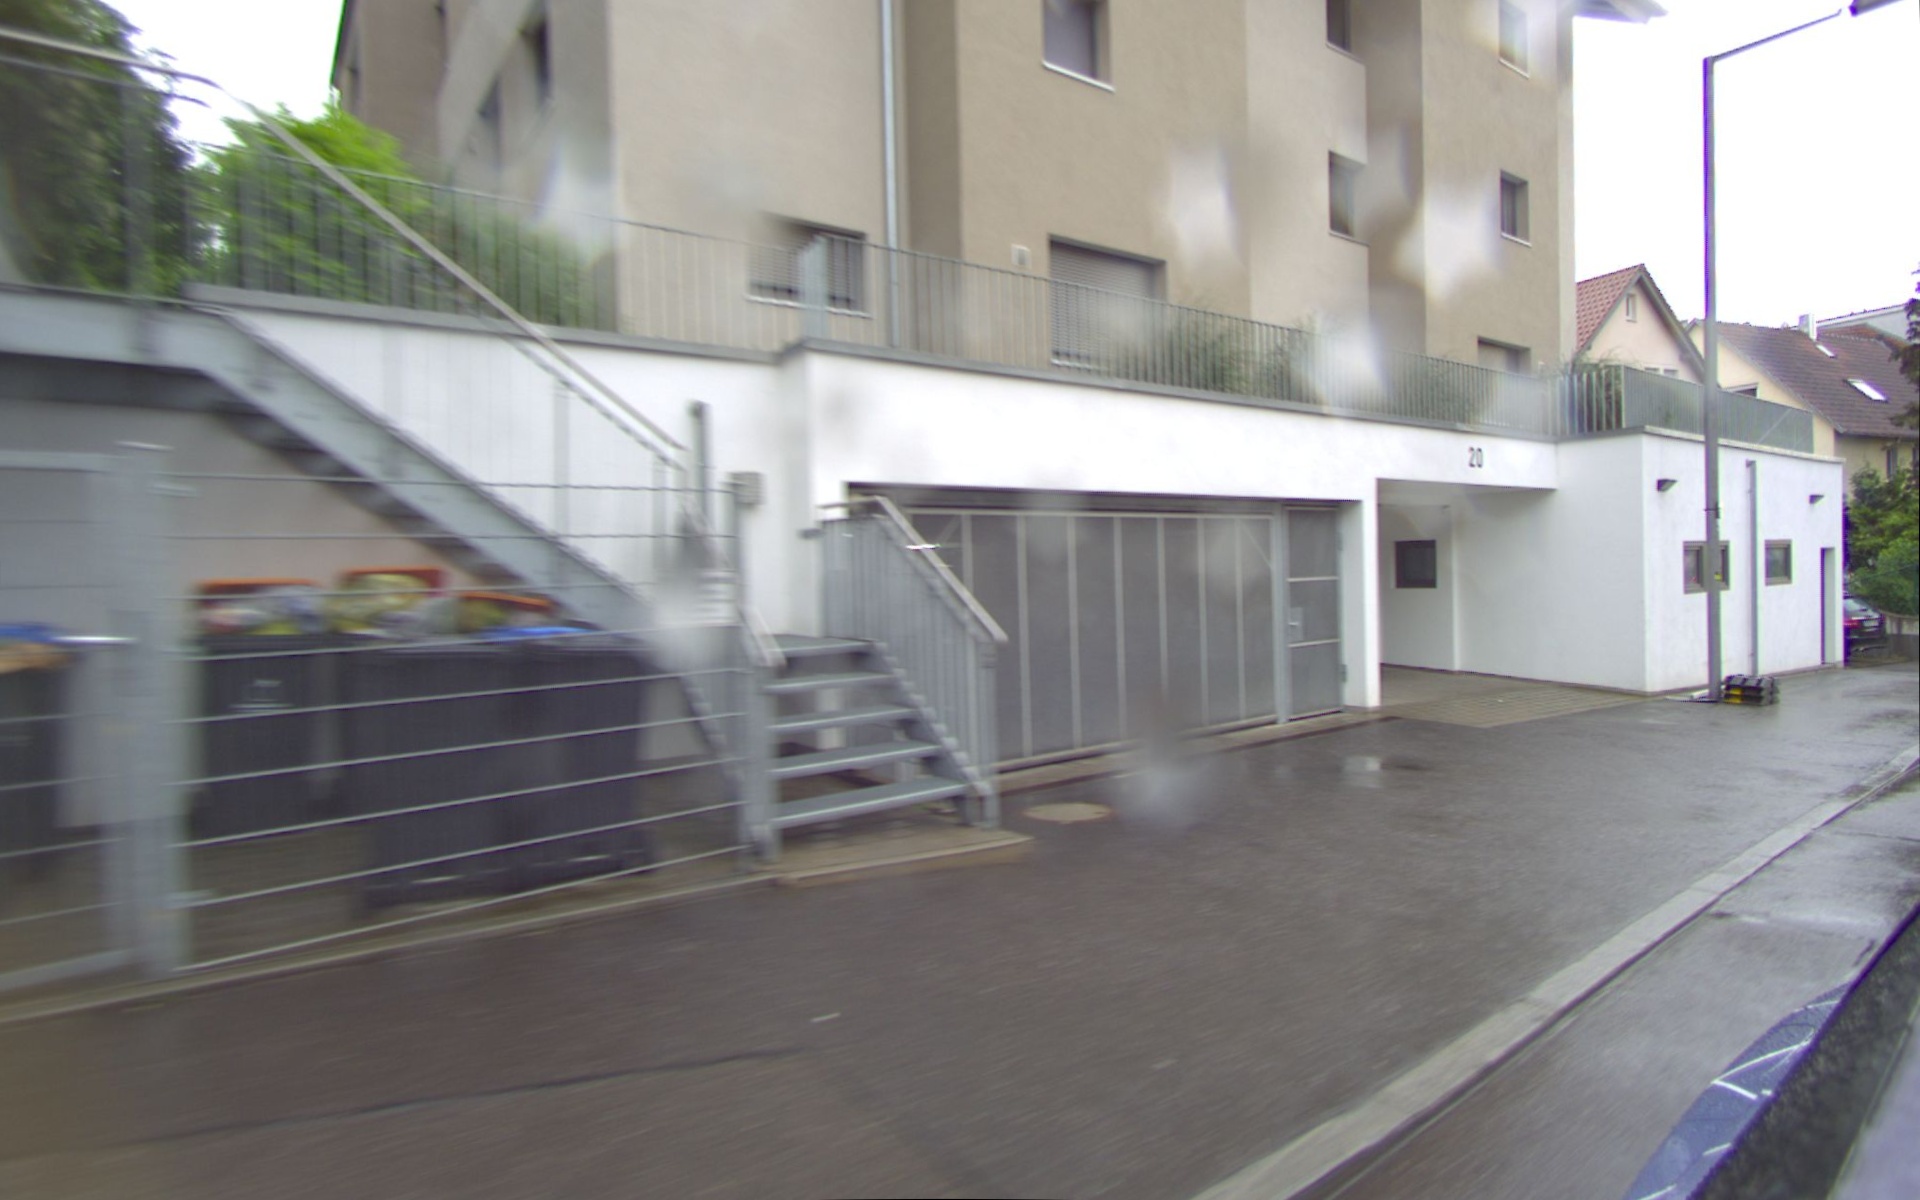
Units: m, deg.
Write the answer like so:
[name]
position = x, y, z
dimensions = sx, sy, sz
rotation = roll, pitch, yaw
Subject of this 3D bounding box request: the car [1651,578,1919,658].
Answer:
[car]
position = 17.077, 0.292, 21.074
dimensions = 1.958, 1.476, 4.008
rotation = 0, 1, -23

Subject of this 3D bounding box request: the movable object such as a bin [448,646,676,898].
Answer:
[movable object such as a bin]
position = -1.850, 0.721, 4.673
dimensions = 0.733, 0.953, 0.876
rotation = 0, 1, -41
